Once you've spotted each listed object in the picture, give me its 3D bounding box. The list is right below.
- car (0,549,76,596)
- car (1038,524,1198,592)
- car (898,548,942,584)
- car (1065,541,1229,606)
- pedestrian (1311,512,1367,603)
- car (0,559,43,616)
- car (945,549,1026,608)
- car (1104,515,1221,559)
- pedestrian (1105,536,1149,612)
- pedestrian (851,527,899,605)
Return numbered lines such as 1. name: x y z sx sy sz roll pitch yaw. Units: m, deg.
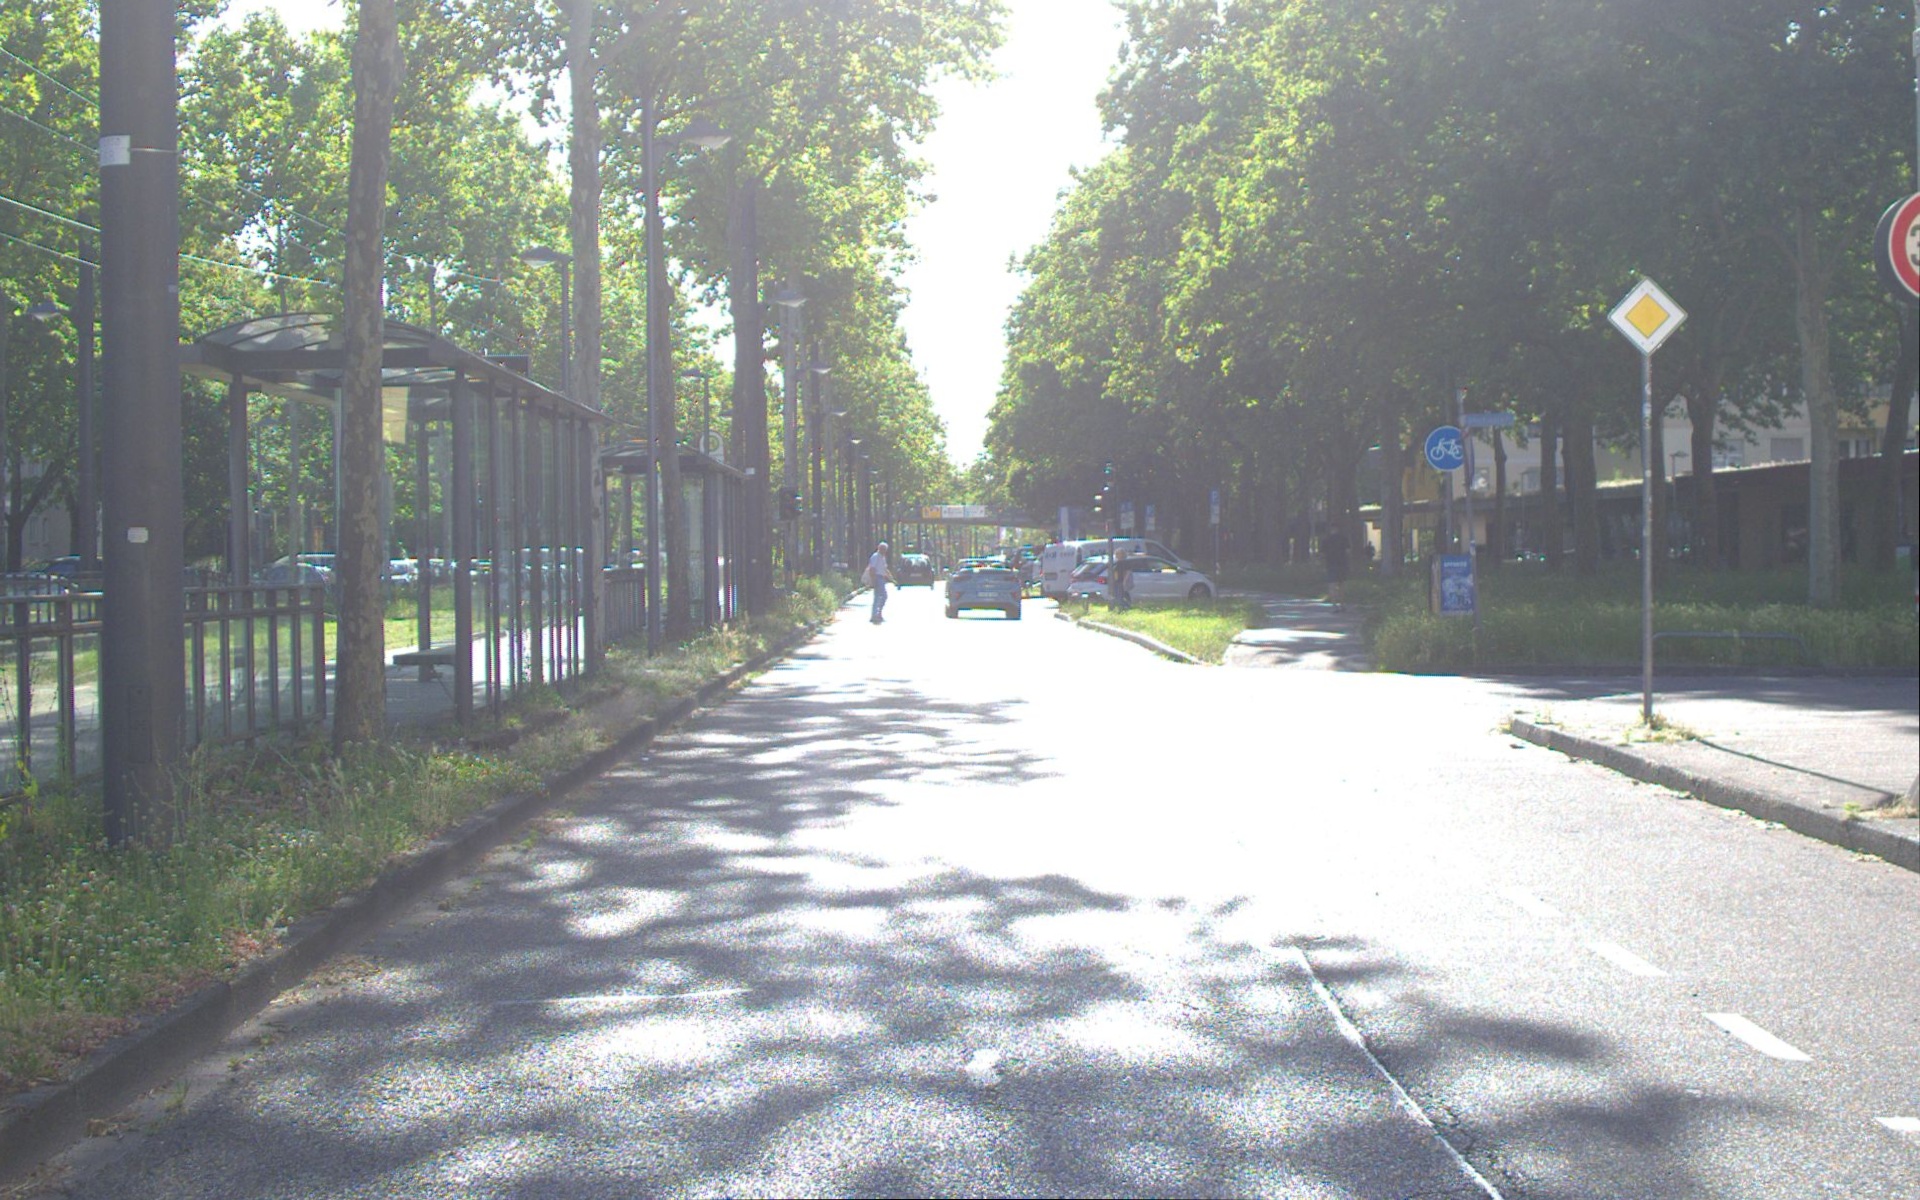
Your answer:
1. car: -34.589 -0.980 125.634 4.074 1.640 1.650 -2 0 -42
2. car: 4.667 -1.237 101.110 4.657 1.846 1.830 -3 1 -40
3. car: -1.752 -1.506 150.642 1.849 1.530 3.866 -1 1 0
4. car: 4.942 -0.707 90.717 3.986 1.464 1.761 -4 2 -31
5. pedestrian: 7.926 -0.890 71.888 0.925 1.878 0.800 -1 1 -14
6. car: -25.433 -0.286 87.193 1.839 1.430 3.816 0 2 40
7. car: 0.603 -0.553 85.767 1.922 1.406 4.000 0 1 -1
8. car: 7.166 -2.244 121.496 4.174 1.407 1.719 -3 1 -44
9. pedestrian: 3.846 -0.599 79.147 0.710 1.700 0.654 -3 1 -35
10. pedestrian: -1.892 -0.751 76.514 0.842 1.716 0.829 -1 1 15
